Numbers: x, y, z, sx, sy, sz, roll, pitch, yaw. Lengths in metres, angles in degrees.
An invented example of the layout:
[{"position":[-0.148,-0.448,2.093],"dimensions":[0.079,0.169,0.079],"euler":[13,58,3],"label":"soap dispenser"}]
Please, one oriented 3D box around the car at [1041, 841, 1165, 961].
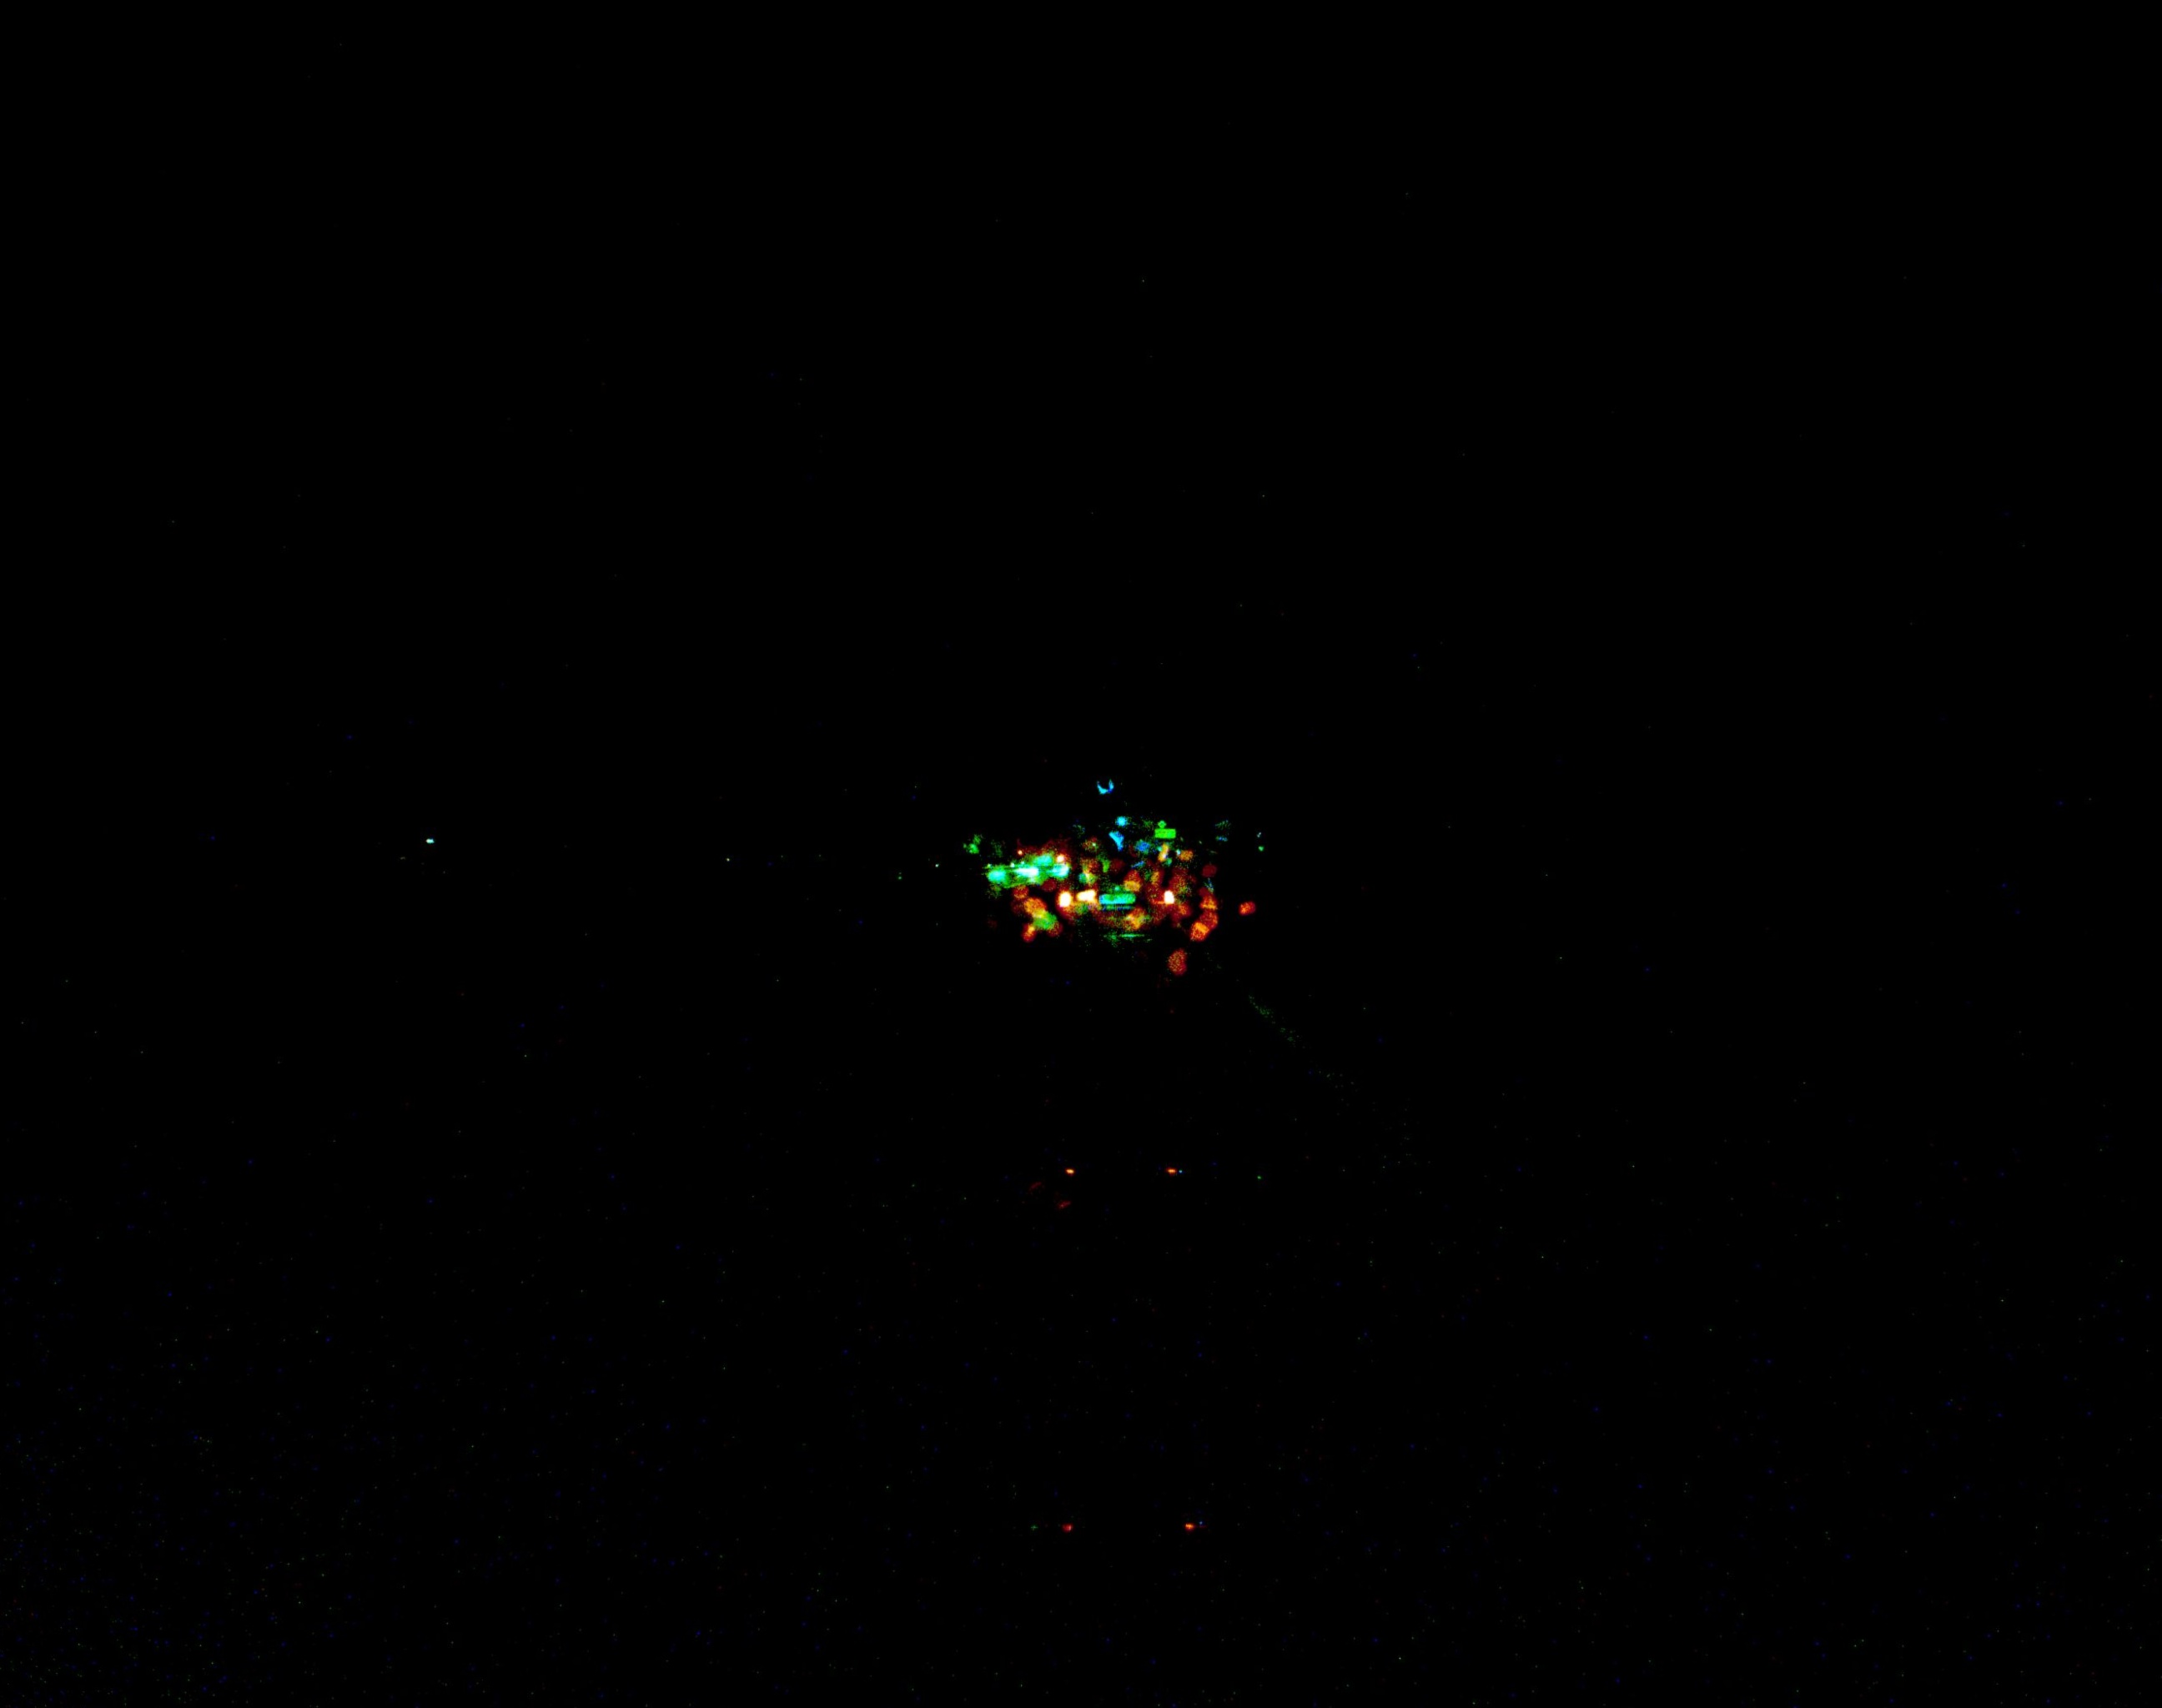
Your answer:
[{"position":[0.401,0.706,13.747],"dimensions":[1.768,1.712,4.002],"euler":[-1,-1,2],"label":"car"}]
